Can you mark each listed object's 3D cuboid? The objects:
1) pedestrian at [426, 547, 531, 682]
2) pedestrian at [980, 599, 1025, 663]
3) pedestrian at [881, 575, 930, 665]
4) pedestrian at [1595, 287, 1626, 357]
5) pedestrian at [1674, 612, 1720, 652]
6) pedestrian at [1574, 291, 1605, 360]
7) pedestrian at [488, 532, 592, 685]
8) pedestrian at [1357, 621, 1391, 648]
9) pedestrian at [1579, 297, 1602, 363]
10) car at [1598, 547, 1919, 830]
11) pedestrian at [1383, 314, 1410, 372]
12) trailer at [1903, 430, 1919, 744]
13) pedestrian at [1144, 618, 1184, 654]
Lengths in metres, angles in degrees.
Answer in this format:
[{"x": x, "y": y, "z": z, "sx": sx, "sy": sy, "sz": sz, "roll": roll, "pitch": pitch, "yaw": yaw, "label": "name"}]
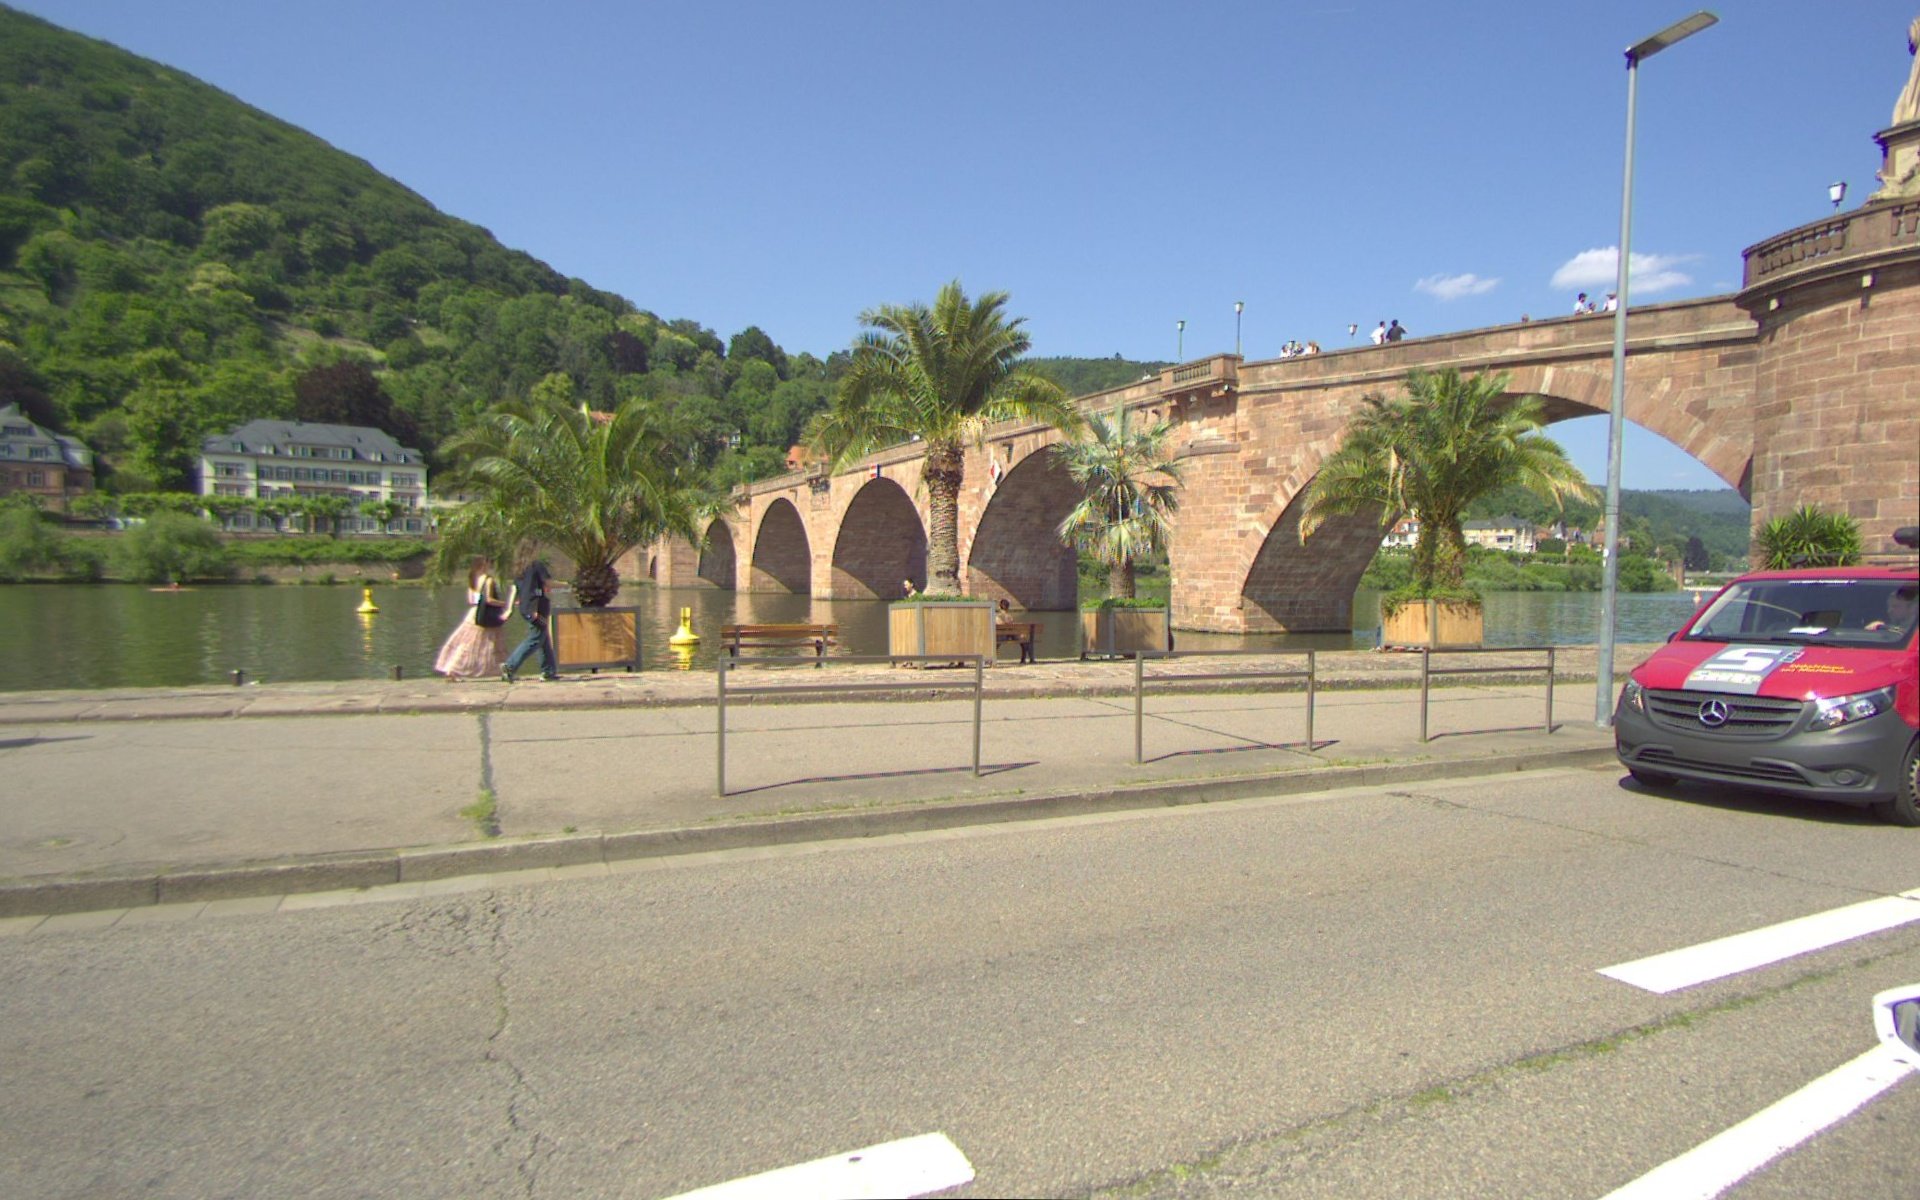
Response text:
[{"x": -5.859, "y": 0.195, "z": 12.242, "sx": 1.102, "sy": 1.554, "sz": 0.791, "roll": 1, "pitch": -3, "yaw": -27, "label": "pedestrian"}, {"x": 0.789, "y": 0.570, "z": 18.791, "sx": 0.500, "sy": 1.160, "sz": 0.939, "roll": 0, "pitch": -1, "yaw": -23, "label": "pedestrian"}, {"x": -1.007, "y": 0.349, "z": 18.538, "sx": 0.667, "sy": 1.622, "sz": 0.594, "roll": 1, "pitch": 2, "yaw": 28, "label": "pedestrian"}, {"x": 21.352, "y": -9.106, "z": 32.951, "sx": 0.688, "sy": 2.040, "sz": 0.619, "roll": 0, "pitch": 1, "yaw": -35, "label": "pedestrian"}, {"x": 24.118, "y": 1.051, "z": 32.858, "sx": 1.130, "sy": 1.257, "sz": 0.724, "roll": 1, "pitch": 1, "yaw": -25, "label": "pedestrian"}, {"x": 20.929, "y": -9.113, "z": 33.402, "sx": 0.688, "sy": 2.040, "sz": 0.619, "roll": 0, "pitch": 1, "yaw": -35, "label": "pedestrian"}, {"x": -4.933, "y": 0.079, "z": 11.815, "sx": 0.782, "sy": 1.714, "sz": 0.844, "roll": 2, "pitch": 2, "yaw": 31, "label": "pedestrian"}, {"x": 9.203, "y": 0.773, "z": 22.341, "sx": 0.506, "sy": 0.571, "sz": 0.463, "roll": 1, "pitch": -3, "yaw": -18, "label": "pedestrian"}, {"x": 21.392, "y": -9.156, "z": 34.082, "sx": 0.549, "sy": 2.040, "sz": 0.455, "roll": 0, "pitch": 1, "yaw": -35, "label": "pedestrian"}, {"x": 7.637, "y": 0.589, "z": 8.458, "sx": 4.486, "sy": 1.852, "sz": 1.867, "roll": 0, "pitch": 0, "yaw": -28, "label": "car"}, {"x": 17.134, "y": -10.057, "z": 39.425, "sx": 0.618, "sy": 2.040, "sz": 0.689, "roll": 0, "pitch": 1, "yaw": -32, "label": "pedestrian"}, {"x": 12.089, "y": -0.136, "z": 10.872, "sx": 3.340, "sy": 3.364, "sz": 1.735, "roll": 0, "pitch": 0, "yaw": -27, "label": "trailer"}, {"x": 4.564, "y": 0.801, "z": 22.524, "sx": 0.594, "sy": 0.752, "sz": 0.694, "roll": 0, "pitch": 1, "yaw": -23, "label": "pedestrian"}]
